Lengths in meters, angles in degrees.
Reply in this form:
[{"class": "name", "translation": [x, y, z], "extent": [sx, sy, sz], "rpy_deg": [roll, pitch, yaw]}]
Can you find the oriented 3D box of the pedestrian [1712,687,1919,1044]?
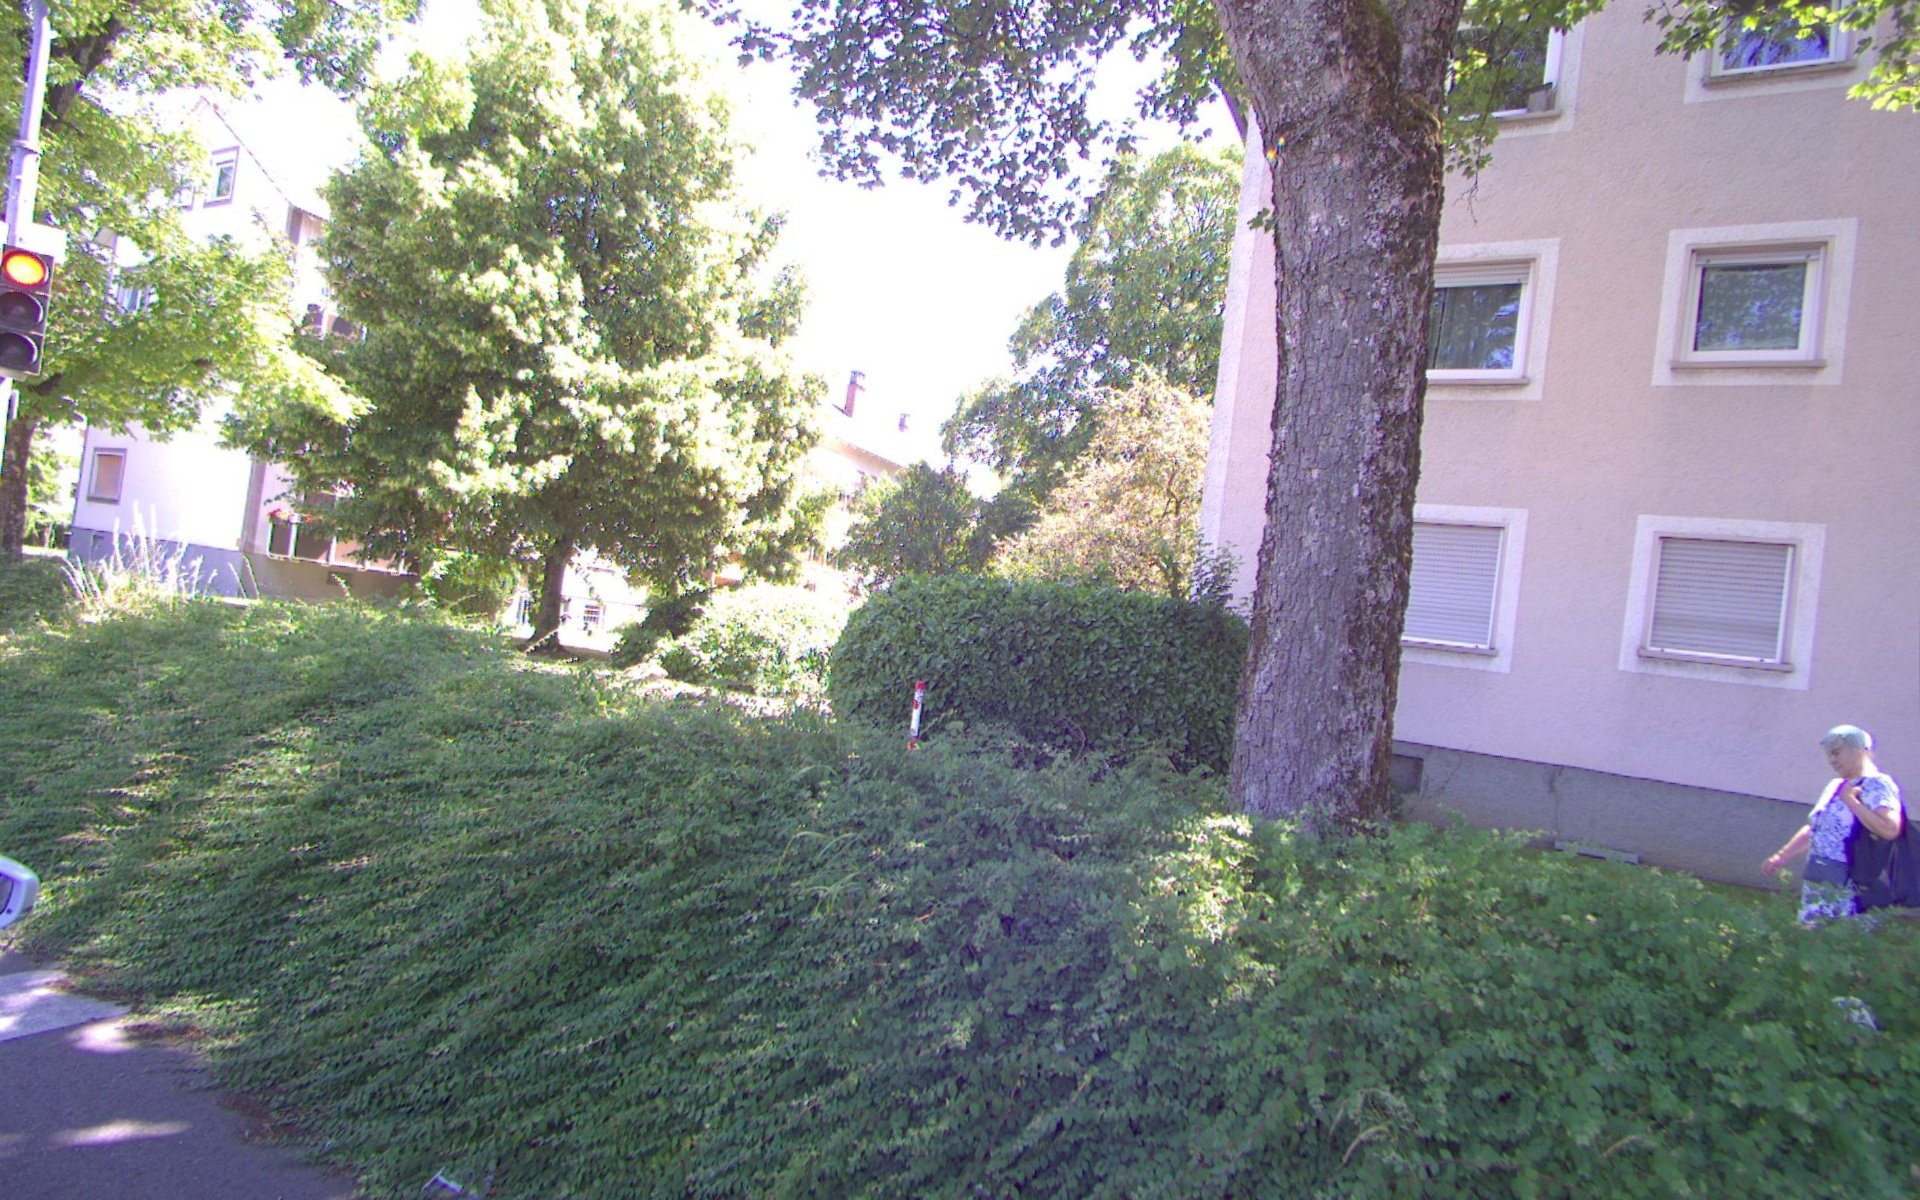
[{"class": "pedestrian", "translation": [4.678, 1.338, 5.307], "extent": [0.836, 1.653, 0.720], "rpy_deg": [7, 0, 23]}]
